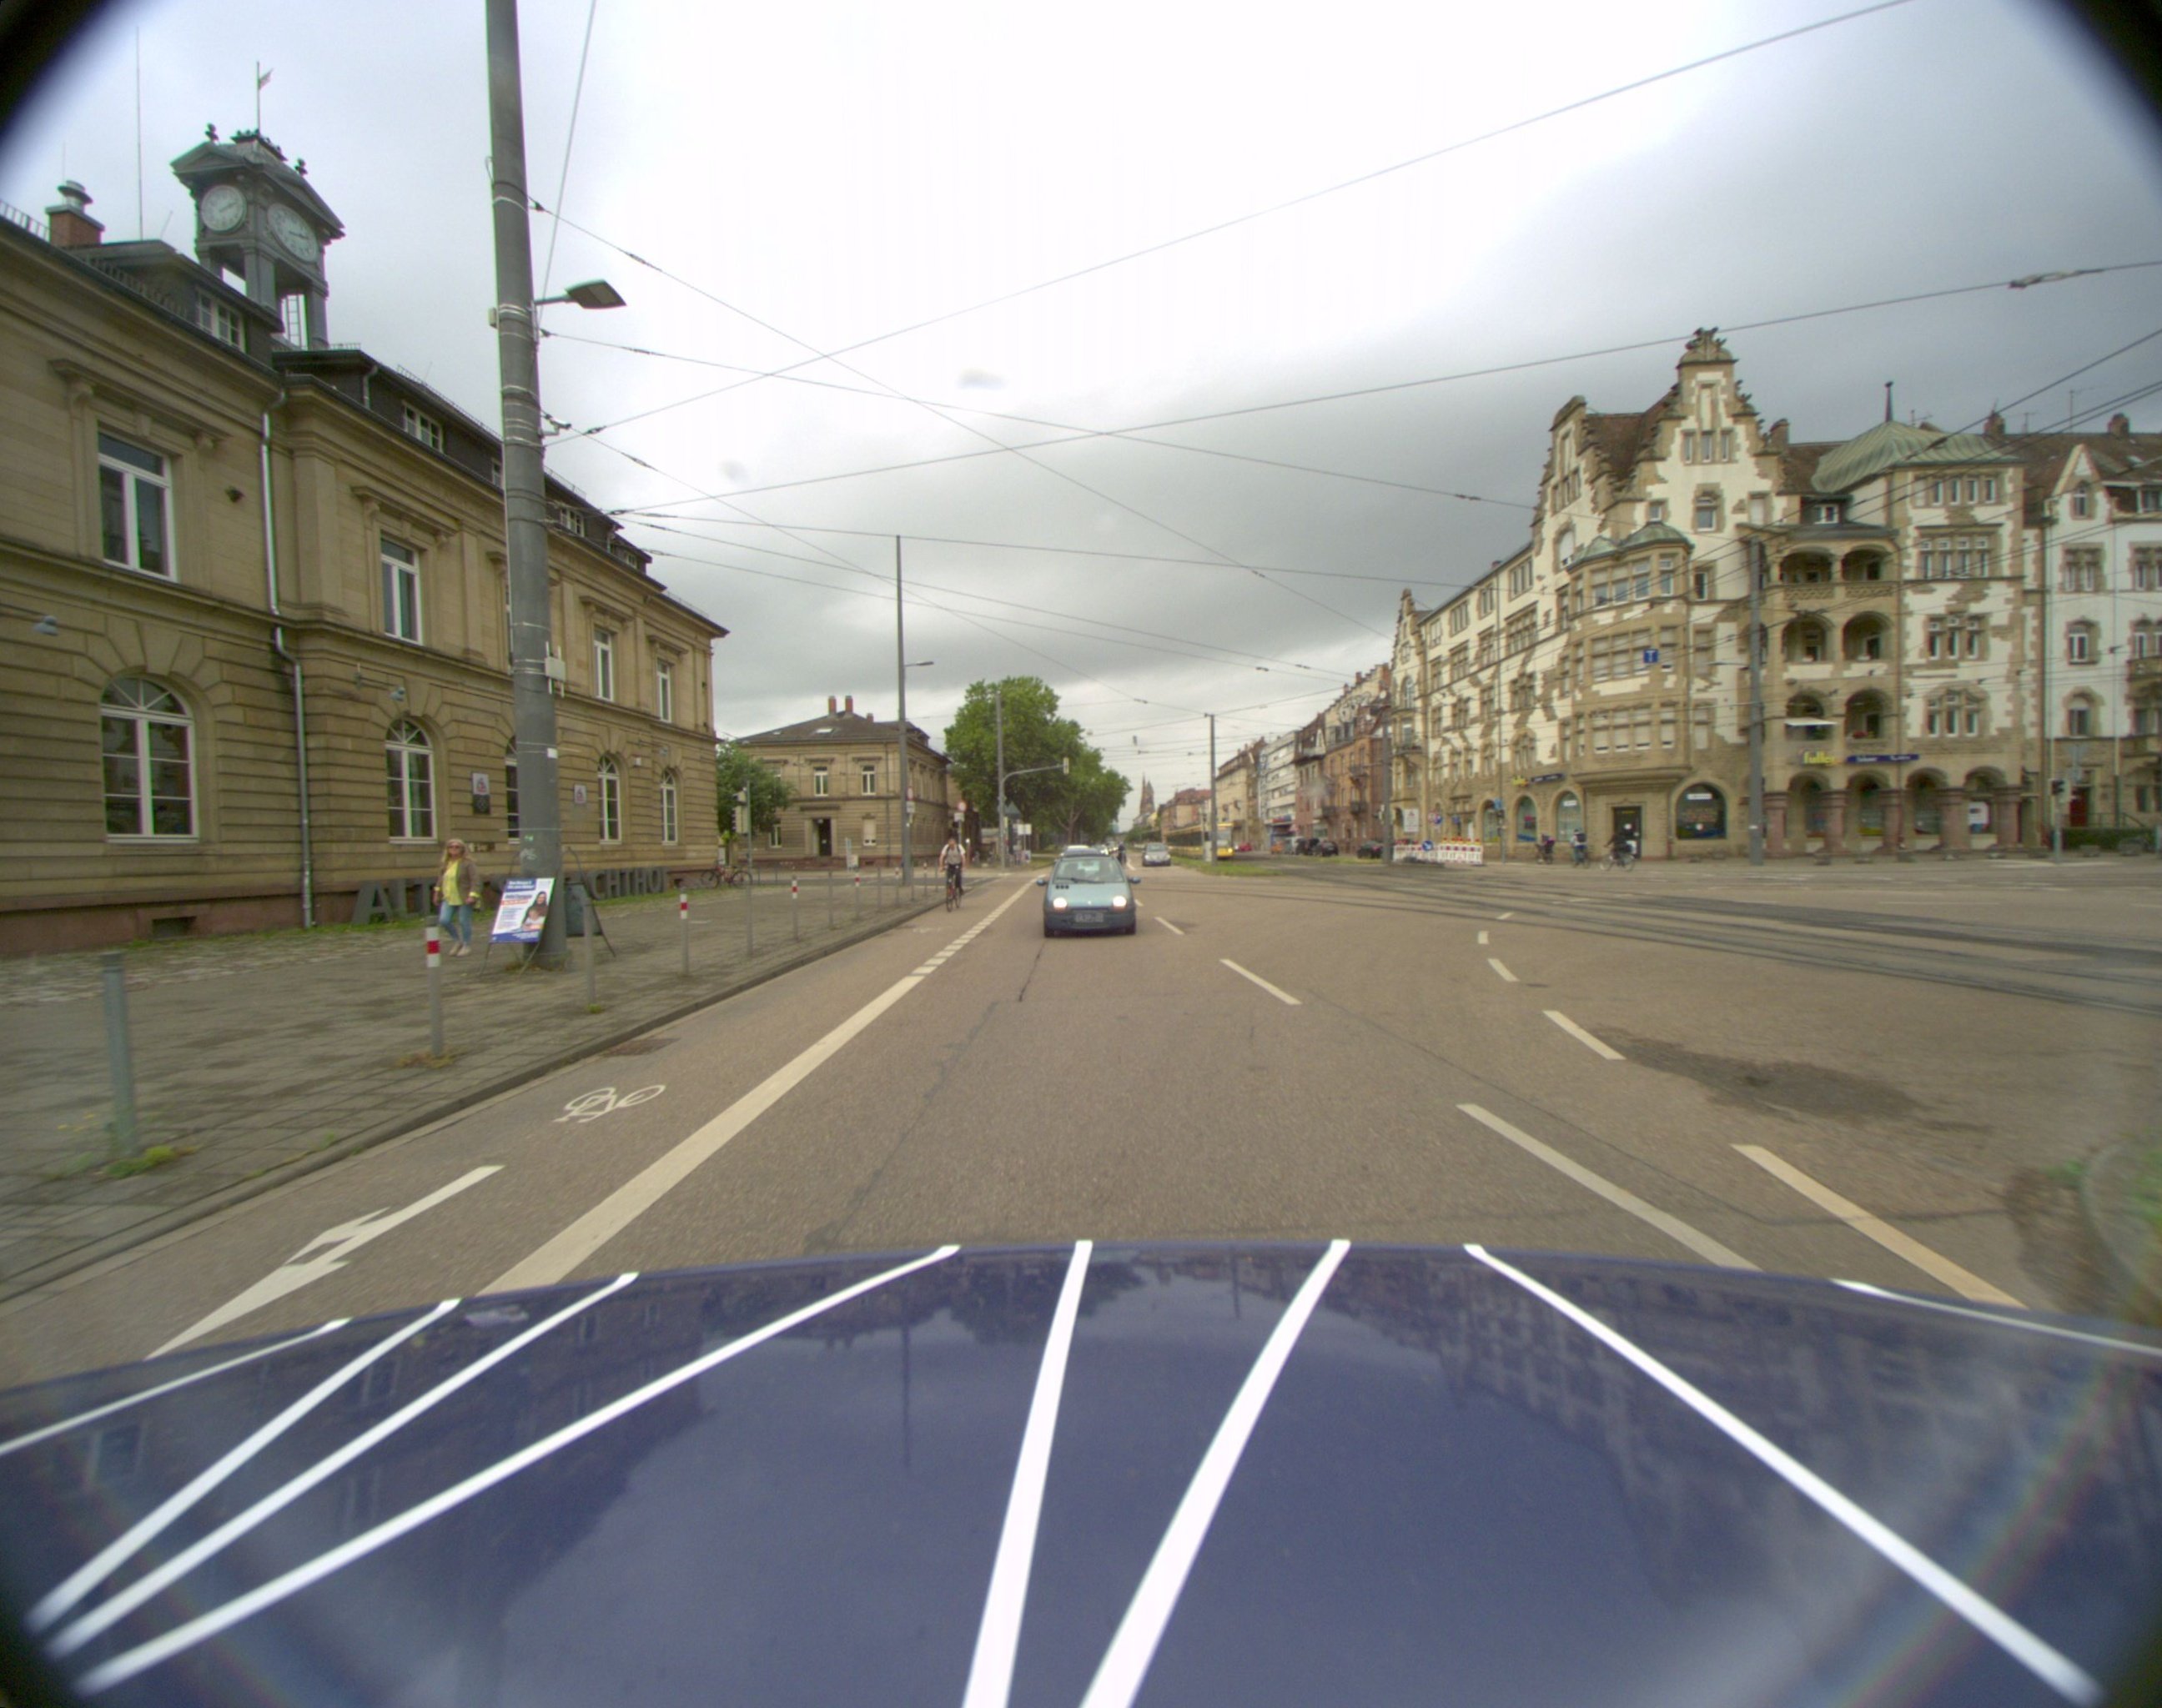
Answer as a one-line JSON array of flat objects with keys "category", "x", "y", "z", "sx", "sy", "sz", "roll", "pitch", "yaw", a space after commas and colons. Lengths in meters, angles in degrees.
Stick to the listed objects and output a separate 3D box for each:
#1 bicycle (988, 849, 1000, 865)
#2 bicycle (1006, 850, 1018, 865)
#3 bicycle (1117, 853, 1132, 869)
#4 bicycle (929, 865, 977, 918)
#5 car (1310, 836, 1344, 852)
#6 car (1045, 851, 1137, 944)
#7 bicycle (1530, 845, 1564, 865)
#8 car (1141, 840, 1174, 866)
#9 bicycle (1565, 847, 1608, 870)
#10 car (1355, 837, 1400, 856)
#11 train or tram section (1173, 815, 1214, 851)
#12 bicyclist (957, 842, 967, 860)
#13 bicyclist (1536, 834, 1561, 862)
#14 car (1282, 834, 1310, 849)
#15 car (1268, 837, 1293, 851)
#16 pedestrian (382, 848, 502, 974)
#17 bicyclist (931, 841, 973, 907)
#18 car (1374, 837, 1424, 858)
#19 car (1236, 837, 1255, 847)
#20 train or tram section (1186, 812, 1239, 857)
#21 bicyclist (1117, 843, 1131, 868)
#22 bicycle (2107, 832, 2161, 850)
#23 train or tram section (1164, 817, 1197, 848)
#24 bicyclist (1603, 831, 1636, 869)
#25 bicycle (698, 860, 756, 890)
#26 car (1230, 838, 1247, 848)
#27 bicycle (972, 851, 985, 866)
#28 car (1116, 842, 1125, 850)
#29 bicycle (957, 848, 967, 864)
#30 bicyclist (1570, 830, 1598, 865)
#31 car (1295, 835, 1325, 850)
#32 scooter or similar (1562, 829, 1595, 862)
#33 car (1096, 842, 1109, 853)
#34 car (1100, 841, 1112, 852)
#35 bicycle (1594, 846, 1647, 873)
[{"category": "bicycle", "x": -6.368, "y": 0.216, "z": 55.663, "sx": 0.718, "sy": 1.062, "sz": 1.698, "roll": -1, "pitch": 2, "yaw": 0}, {"category": "bicycle", "x": -5.048, "y": 0.232, "z": 55.709, "sx": 0.718, "sy": 1.062, "sz": 1.698, "roll": -1, "pitch": 2, "yaw": 0}, {"category": "bicycle", "x": 2.753, "y": 0.454, "z": 48.343, "sx": 0.812, "sy": 0.939, "sz": 2.147, "roll": -1, "pitch": -1, "yaw": 0}, {"category": "bicycle", "x": -3.250, "y": 0.931, "z": 19.470, "sx": 0.814, "sy": 1.163, "sz": 2.276, "roll": -1, "pitch": 2, "yaw": 0}, {"category": "car", "x": 24.062, "y": -0.975, "z": 74.571, "sx": 1.999, "sy": 1.434, "sz": 3.998, "roll": -1, "pitch": 2, "yaw": -1}, {"category": "car", "x": 0.262, "y": 0.719, "z": 14.329, "sx": 1.534, "sy": 1.464, "sz": 3.353, "roll": 0, "pitch": 2, "yaw": 3}, {"category": "bicycle", "x": 24.087, "y": 0.035, "z": 39.312, "sx": 0.708, "sy": 1.031, "sz": 2.023, "roll": -1, "pitch": 1, "yaw": 5}, {"category": "car", "x": 5.189, "y": -0.132, "z": 51.959, "sx": 1.869, "sy": 1.631, "sz": 3.774, "roll": -1, "pitch": 2, "yaw": 0}, {"category": "bicycle", "x": 23.317, "y": 0.186, "z": 35.098, "sx": 0.724, "sy": 1.031, "sz": 1.909, "roll": -1, "pitch": 0, "yaw": 1}, {"category": "car", "x": 23.948, "y": -0.627, "z": 61.505, "sx": 1.999, "sy": 1.434, "sz": 3.998, "roll": -1, "pitch": 2, "yaw": -1}, {"category": "train or tram section", "x": 11.579, "y": -2.224, "z": 79.150, "sx": 2.651, "sy": 3.418, "sz": 13.616, "roll": -1, "pitch": 2, "yaw": 2}, {"category": "bicyclist", "x": -9.444, "y": -0.215, "z": 60.274, "sx": 0.695, "sy": 1.392, "sz": 0.815, "roll": -2, "pitch": 2, "yaw": -10}, {"category": "bicyclist", "x": 24.064, "y": -0.319, "z": 39.142, "sx": 0.708, "sy": 1.436, "sz": 0.973, "roll": -1, "pitch": 1, "yaw": 5}, {"category": "car", "x": 24.628, "y": -1.447, "z": 87.123, "sx": 1.999, "sy": 1.587, "sz": 3.998, "roll": -1, "pitch": 2, "yaw": -1}, {"category": "car", "x": 24.679, "y": -1.222, "z": 94.028, "sx": 1.999, "sy": 1.587, "sz": 3.998, "roll": -1, "pitch": 2, "yaw": -1}, {"category": "pedestrian", "x": -9.015, "y": 0.767, "z": 10.769, "sx": 0.720, "sy": 1.669, "sz": 1.000, "roll": -1, "pitch": 2, "yaw": 12}, {"category": "bicyclist", "x": -3.255, "y": 0.476, "z": 19.313, "sx": 0.812, "sy": 1.591, "sz": 1.189, "roll": -1, "pitch": 2, "yaw": 1}, {"category": "car", "x": 23.874, "y": -0.528, "z": 57.225, "sx": 1.999, "sy": 1.434, "sz": 3.998, "roll": -1, "pitch": 2, "yaw": -1}, {"category": "car", "x": 25.616, "y": -1.878, "z": 118.479, "sx": 1.999, "sy": 1.587, "sz": 3.998, "roll": -1, "pitch": 2, "yaw": -1}, {"category": "train or tram section", "x": 11.122, "y": -1.729, "z": 65.581, "sx": 2.651, "sy": 3.418, "sz": 13.616, "roll": -1, "pitch": 2, "yaw": 2}, {"category": "bicyclist", "x": 2.737, "y": 0.113, "z": 48.409, "sx": 0.812, "sy": 1.587, "sz": 0.890, "roll": -1, "pitch": 0, "yaw": 0}, {"category": "bicycle", "x": 45.613, "y": -0.578, "z": 32.679, "sx": 0.561, "sy": 0.734, "sz": 1.803, "roll": -1, "pitch": 2, "yaw": 2}, {"category": "train or tram section", "x": 12.012, "y": -2.625, "z": 92.765, "sx": 2.651, "sy": 3.418, "sz": 13.616, "roll": -1, "pitch": 2, "yaw": 2}, {"category": "bicyclist", "x": 22.086, "y": -0.159, "z": 31.182, "sx": 0.751, "sy": 1.511, "sz": 0.765, "roll": -1, "pitch": 0, "yaw": -3}, {"category": "bicycle", "x": -13.163, "y": 0.799, "z": 28.298, "sx": 1.859, "sy": 1.072, "sz": 0.546, "roll": 1, "pitch": 2, "yaw": -17}, {"category": "car", "x": 25.913, "y": -1.884, "z": 125.017, "sx": 1.999, "sy": 1.587, "sz": 3.998, "roll": -1, "pitch": 2, "yaw": -1}, {"category": "bicycle", "x": -7.501, "y": 0.311, "z": 55.783, "sx": 0.718, "sy": 1.062, "sz": 1.698, "roll": -1, "pitch": 2, "yaw": 0}, {"category": "car", "x": 10.732, "y": -2.150, "z": 206.093, "sx": 1.998, "sy": 2.002, "sz": 3.998, "roll": -1, "pitch": 2, "yaw": 0}, {"category": "bicycle", "x": -9.424, "y": 0.155, "z": 60.135, "sx": 0.677, "sy": 1.158, "sz": 2.112, "roll": -1, "pitch": 2, "yaw": -7}, {"category": "bicyclist", "x": 23.312, "y": -0.298, "z": 35.213, "sx": 0.724, "sy": 1.597, "sz": 0.859, "roll": -1, "pitch": 0, "yaw": 1}, {"category": "car", "x": 24.244, "y": -1.239, "z": 80.575, "sx": 1.999, "sy": 1.587, "sz": 3.998, "roll": -1, "pitch": 2, "yaw": -1}, {"category": "scooter or similar", "x": 26.420, "y": -0.484, "z": 40.395, "sx": 0.565, "sy": 1.706, "sz": 1.829, "roll": -1, "pitch": 2, "yaw": 0}, {"category": "car", "x": 2.696, "y": -0.806, "z": 94.459, "sx": 1.546, "sy": 1.336, "sz": 3.795, "roll": -1, "pitch": 1, "yaw": 1}, {"category": "car", "x": 3.395, "y": -1.000, "z": 103.832, "sx": 1.534, "sy": 1.464, "sz": 3.353, "roll": 0, "pitch": 2, "yaw": 3}, {"category": "bicycle", "x": 22.099, "y": 0.225, "z": 31.191, "sx": 0.751, "sy": 1.031, "sz": 1.915, "roll": -1, "pitch": 0, "yaw": -3}]
